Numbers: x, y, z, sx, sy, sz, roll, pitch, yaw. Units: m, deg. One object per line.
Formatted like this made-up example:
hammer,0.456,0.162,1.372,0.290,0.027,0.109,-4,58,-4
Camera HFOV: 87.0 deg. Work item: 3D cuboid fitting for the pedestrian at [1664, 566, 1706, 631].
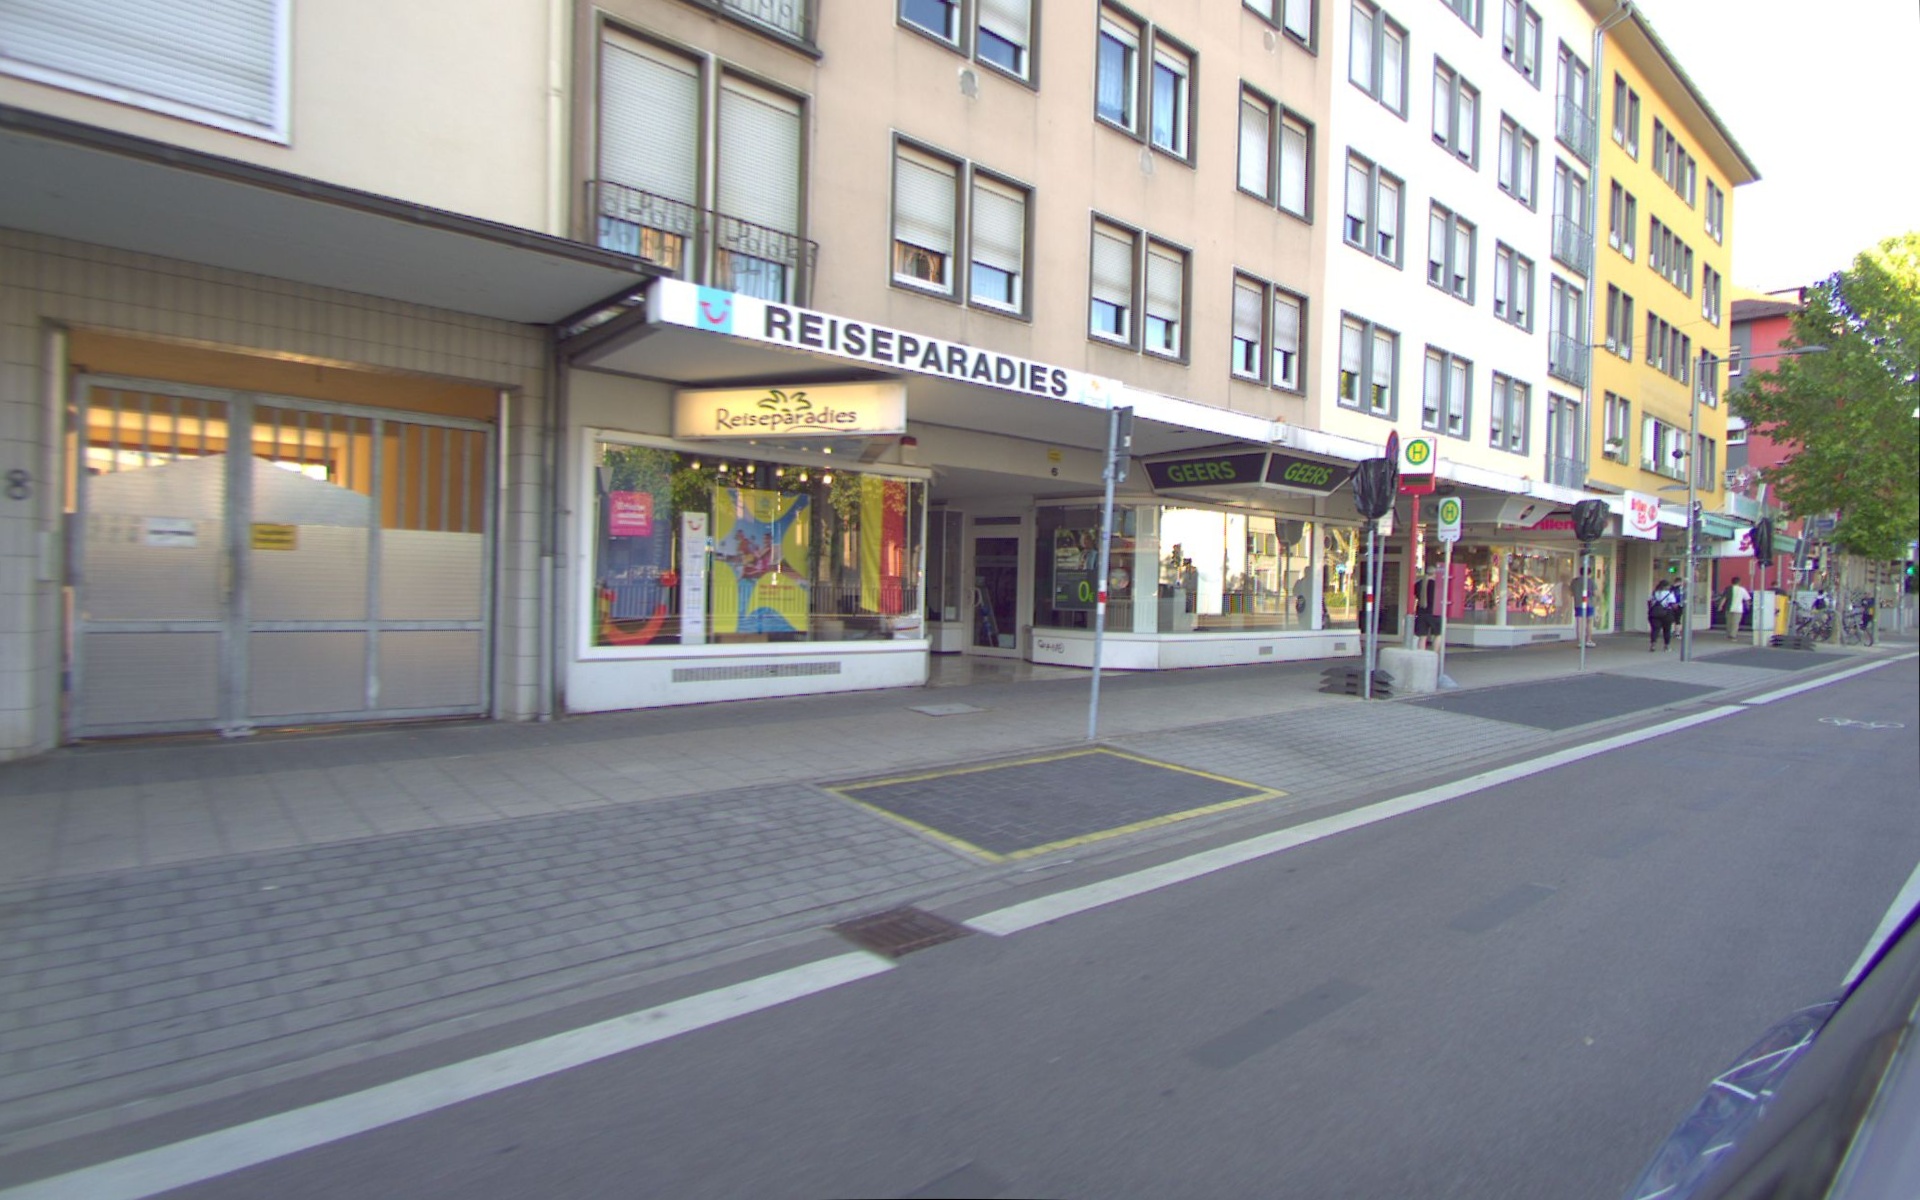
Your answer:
pedestrian,19.968,-0.056,27.882,0.753,1.744,0.725,0,2,-41

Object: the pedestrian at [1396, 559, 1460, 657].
pedestrian,8.151,0.115,17.628,0.753,1.652,0.725,0,2,-41

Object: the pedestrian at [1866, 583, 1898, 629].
pedestrian,36.207,0.212,39.732,0.801,1.731,0.728,0,4,-40

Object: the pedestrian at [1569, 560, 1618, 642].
pedestrian,14.670,0.009,23.431,0.753,1.862,0.725,0,2,-41

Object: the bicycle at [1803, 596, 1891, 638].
bicycle,25.349,0.469,28.946,0.532,1.020,1.801,0,4,-43

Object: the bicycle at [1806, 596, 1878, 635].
bicycle,24.873,0.427,28.565,0.446,1.021,1.484,0,2,-43

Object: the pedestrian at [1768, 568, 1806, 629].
pedestrian,25.529,-0.058,31.245,0.753,1.829,0.725,0,2,-41

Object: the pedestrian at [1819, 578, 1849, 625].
pedestrian,34.937,0.050,40.465,0.879,1.802,0.745,0,2,-41

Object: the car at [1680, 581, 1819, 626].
car,33.273,0.107,42.741,1.741,1.707,4.350,0,2,-40

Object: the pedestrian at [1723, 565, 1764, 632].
pedestrian,21.775,-0.048,28.125,0.753,1.801,0.725,0,2,-41

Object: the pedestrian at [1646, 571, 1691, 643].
pedestrian,16.097,0.146,22.996,0.836,1.598,0.611,0,2,-41
